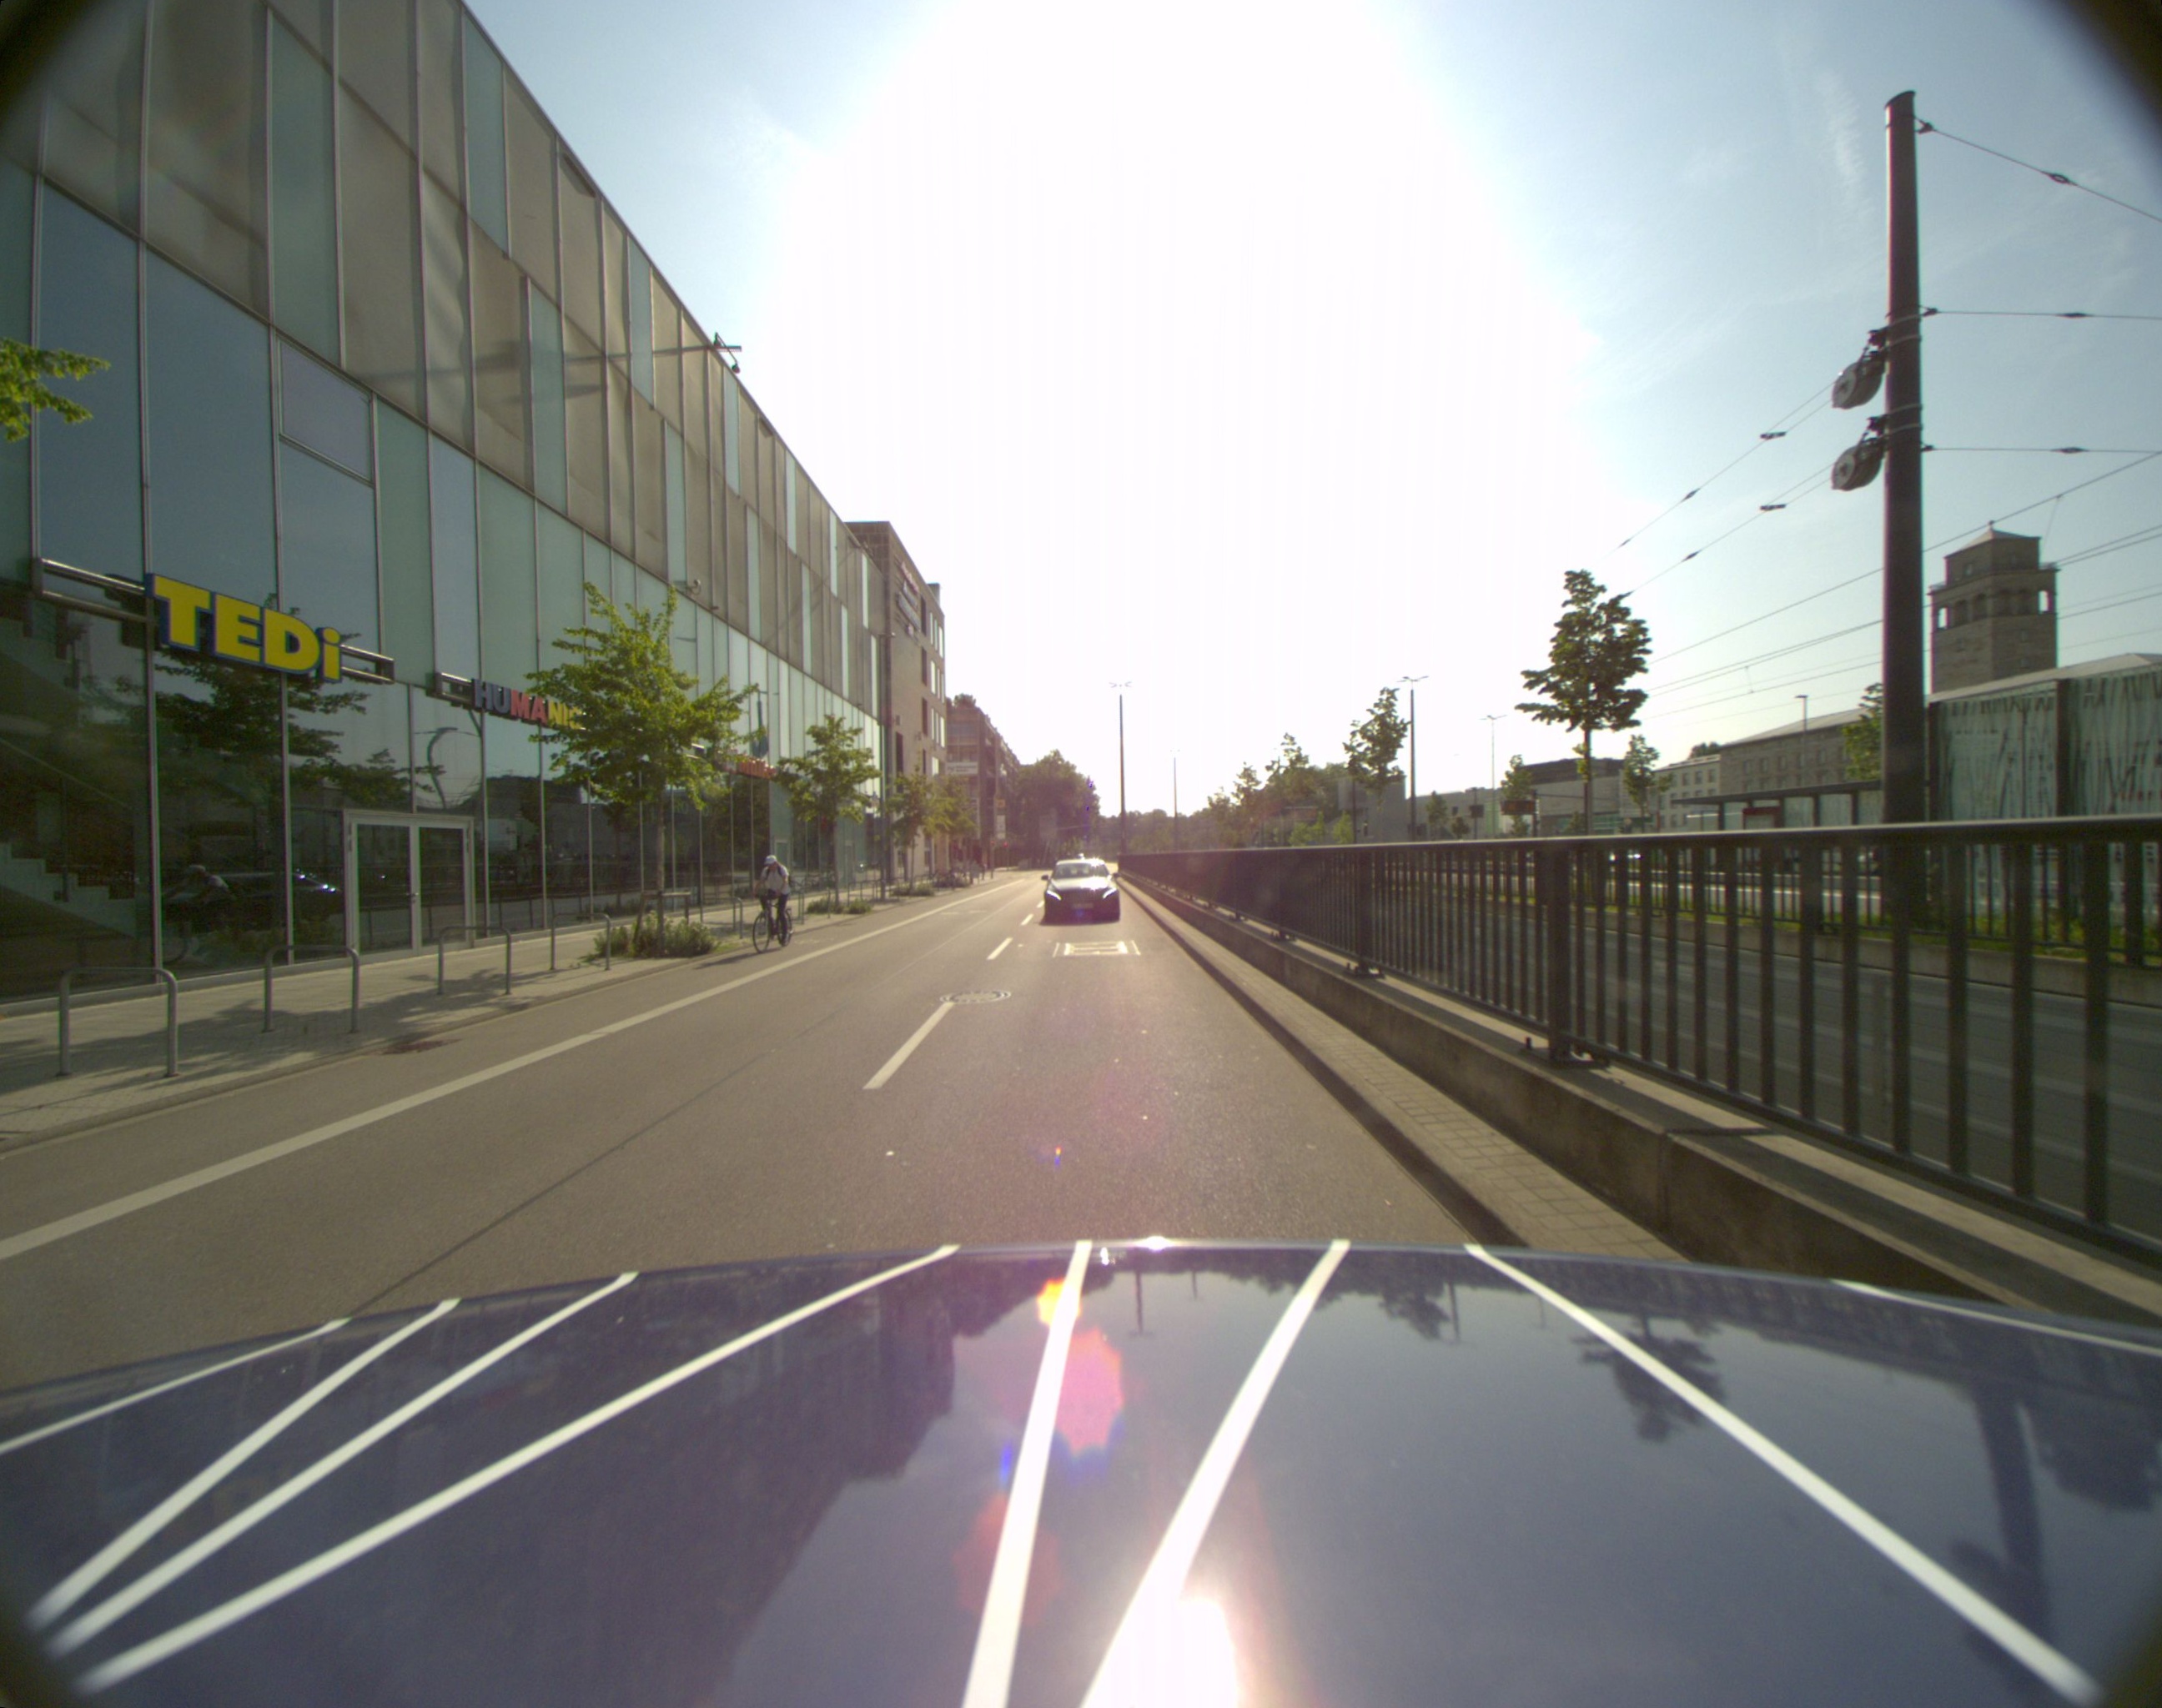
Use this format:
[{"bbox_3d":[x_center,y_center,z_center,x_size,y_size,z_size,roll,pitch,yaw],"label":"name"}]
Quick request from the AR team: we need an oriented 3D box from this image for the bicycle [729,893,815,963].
[{"bbox_3d":[-5.744,1.336,14.262,0.662,1.111,2.051,-1,0,3],"label":"bicycle"}]

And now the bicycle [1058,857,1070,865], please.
[{"bbox_3d":[-2.534,1.064,112.934,1.831,1.181,0.537,0,1,6],"label":"bicycle"}]

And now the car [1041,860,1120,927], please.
[{"bbox_3d":[0.110,0.928,19.929,1.716,1.429,5.058,-2,0,3],"label":"car"}]

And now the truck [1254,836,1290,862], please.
[{"bbox_3d":[27.595,-0.619,110.024,3.029,3.565,8.890,-1,0,0],"label":"truck"}]

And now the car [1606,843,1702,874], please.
[{"bbox_3d":[29.876,0.230,39.805,1.647,1.461,4.403,-1,0,0],"label":"car"}]

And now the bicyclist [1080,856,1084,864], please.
[{"bbox_3d":[0.203,1.036,135.033,0.612,1.504,0.813,-1,0,-9],"label":"bicyclist"}]

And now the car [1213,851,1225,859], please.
[{"bbox_3d":[28.293,0.205,156.009,1.619,1.778,4.519,-1,0,1],"label":"car"}]

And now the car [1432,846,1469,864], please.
[{"bbox_3d":[31.868,0.058,65.647,1.600,1.455,3.434,-1,0,1],"label":"car"}]

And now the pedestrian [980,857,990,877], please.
[{"bbox_3d":[-7.309,1.002,57.760,0.710,1.479,0.604,-1,0,-6],"label":"pedestrian"}]

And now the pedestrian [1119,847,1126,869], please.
[{"bbox_3d":[3.222,0.294,58.821,0.468,1.640,0.777,-2,0,1],"label":"pedestrian"}]

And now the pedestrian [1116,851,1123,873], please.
[{"bbox_3d":[2.941,0.606,57.893,0.468,1.640,0.777,-2,0,1],"label":"pedestrian"}]

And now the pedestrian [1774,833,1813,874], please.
[{"bbox_3d":[22.921,-0.024,24.460,0.682,1.292,0.592,-1,0,-3],"label":"pedestrian"}]

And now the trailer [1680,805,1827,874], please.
[{"bbox_3d":[29.945,-0.607,34.101,2.050,2.764,5.021,-3,0,0],"label":"trailer"}]

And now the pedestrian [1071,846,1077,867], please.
[{"bbox_3d":[-0.556,0.167,60.408,0.468,1.640,0.777,-2,0,1],"label":"pedestrian"}]

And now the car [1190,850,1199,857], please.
[{"bbox_3d":[27.491,-0.159,184.106,1.644,1.592,4.000,-1,0,-1],"label":"car"}]

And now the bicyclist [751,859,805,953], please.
[{"bbox_3d":[-5.737,0.965,14.435,0.652,1.738,0.769,-1,0,3],"label":"bicyclist"}]

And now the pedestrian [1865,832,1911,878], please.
[{"bbox_3d":[23.111,0.019,21.764,0.682,1.292,0.592,-1,0,-3],"label":"pedestrian"}]

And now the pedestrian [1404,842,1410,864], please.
[{"bbox_3d":[24.839,-0.069,57.877,0.371,1.666,0.641,-1,1,17],"label":"pedestrian"}]

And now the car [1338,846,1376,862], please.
[{"bbox_3d":[29.535,0.000,81.417,1.798,1.572,4.612,-1,0,-8],"label":"car"}]

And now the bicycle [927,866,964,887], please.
[{"bbox_3d":[-7.397,1.242,41.562,1.882,1.103,0.490,-1,0,3],"label":"bicycle"}]

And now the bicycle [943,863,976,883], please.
[{"bbox_3d":[-7.305,1.159,45.738,1.843,1.106,0.687,-3,0,3],"label":"bicycle"}]

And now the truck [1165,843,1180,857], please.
[{"bbox_3d":[25.602,-0.971,213.217,2.979,3.787,10.421,-1,0,-1],"label":"truck"}]
